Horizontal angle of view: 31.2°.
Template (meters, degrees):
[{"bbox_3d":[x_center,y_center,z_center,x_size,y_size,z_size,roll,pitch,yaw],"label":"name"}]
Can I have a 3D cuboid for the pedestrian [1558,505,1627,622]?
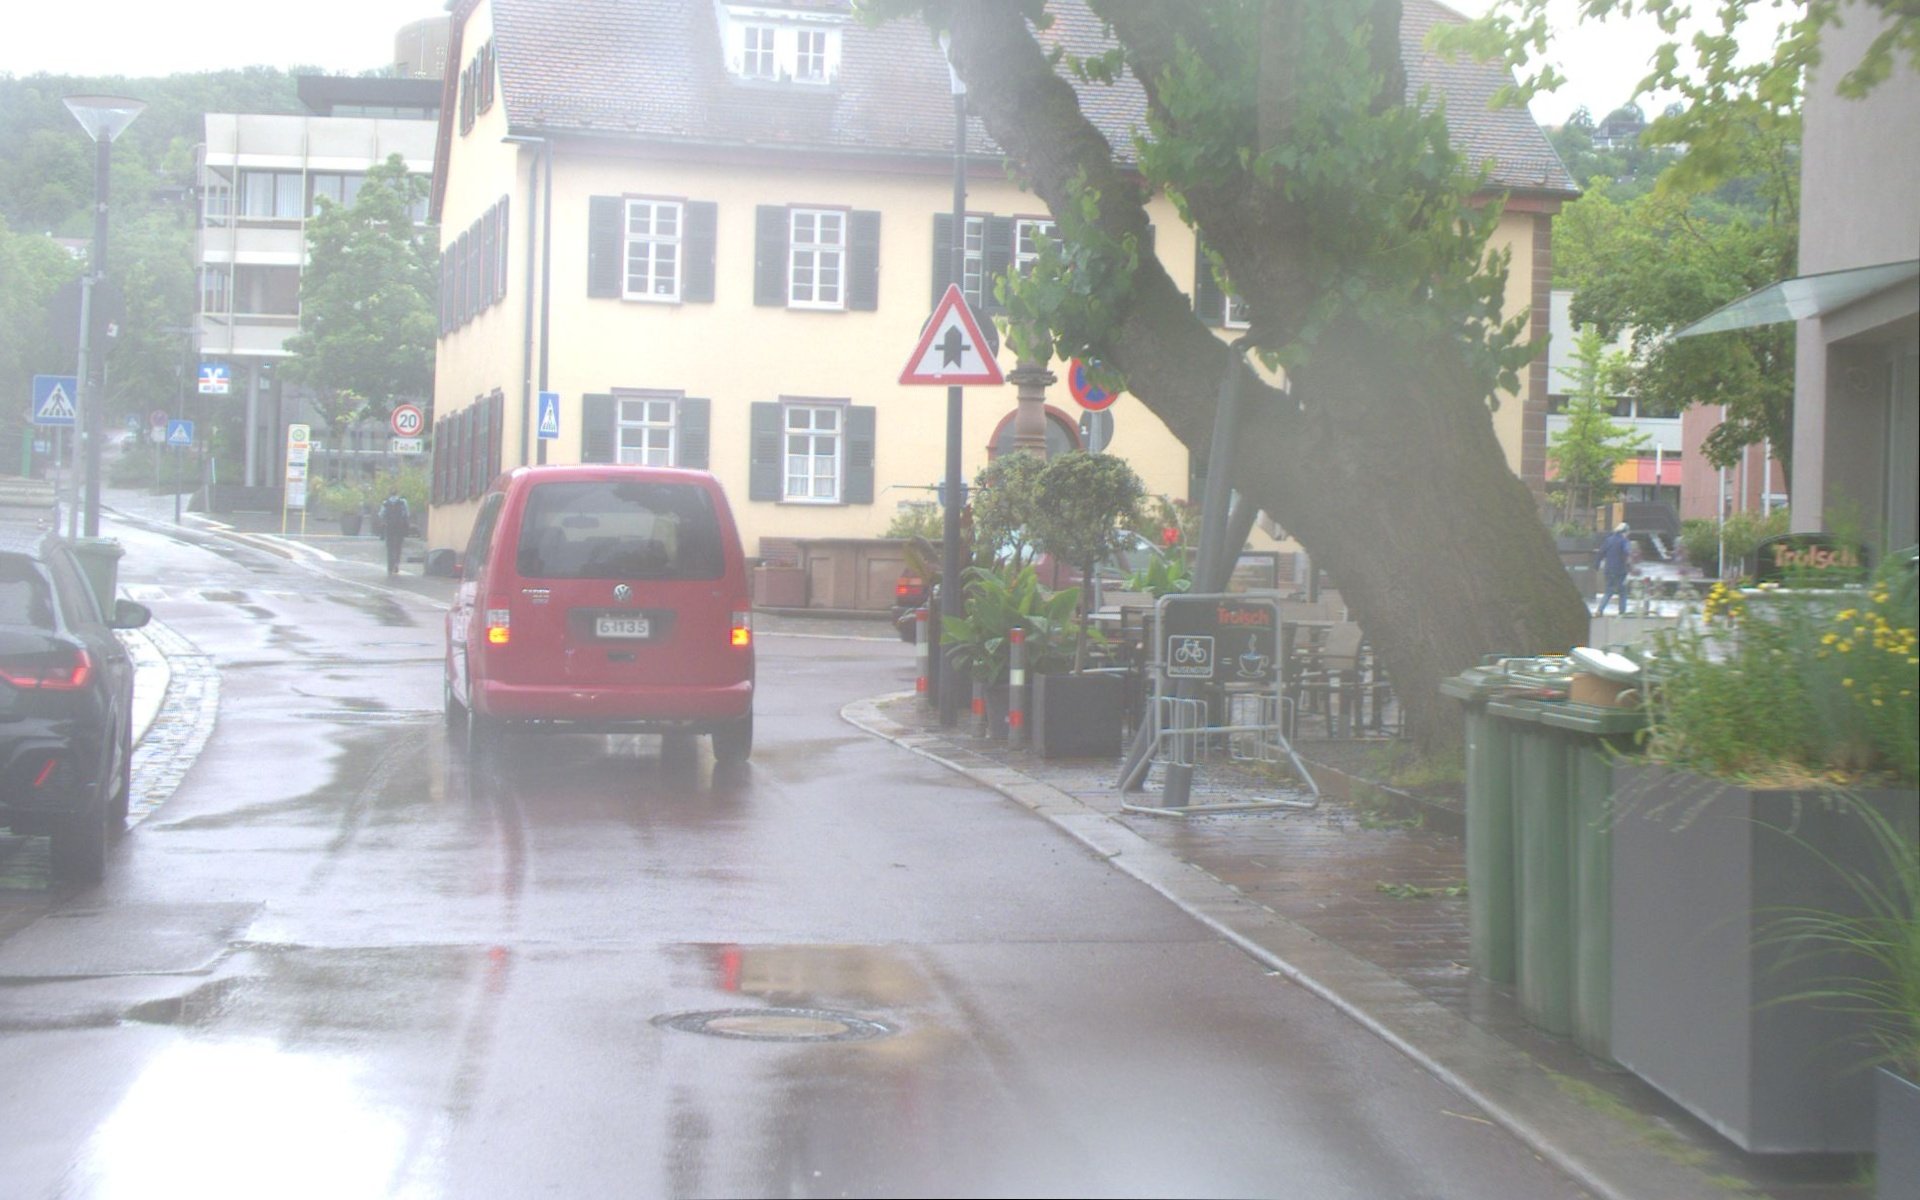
[{"bbox_3d":[10.175,-0.582,55.331,0.898,1.836,0.766,2,-1,1],"label":"pedestrian"}]

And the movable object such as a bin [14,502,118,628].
[{"bbox_3d":[-8.157,-0.315,31.384,0.794,1.102,0.722,3,-1,-8],"label":"movable object such as a bin"}]

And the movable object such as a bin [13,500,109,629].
[{"bbox_3d":[-8.022,-0.313,30.695,0.714,1.102,0.600,3,-1,-8],"label":"movable object such as a bin"}]

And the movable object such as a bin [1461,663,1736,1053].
[{"bbox_3d":[1.899,0.757,10.285,0.631,1.100,0.579,3,-1,-5],"label":"movable object such as a bin"}]

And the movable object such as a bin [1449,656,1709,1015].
[{"bbox_3d":[1.993,0.747,11.122,0.677,1.099,0.579,3,-1,-2],"label":"movable object such as a bin"}]

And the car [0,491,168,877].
[{"bbox_3d":[-4.590,0.254,15.512,1.787,1.490,4.001,3,1,-11],"label":"car"}]

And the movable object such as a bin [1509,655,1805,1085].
[{"bbox_3d":[1.956,0.744,9.695,0.631,1.146,0.579,3,-1,-5],"label":"movable object such as a bin"}]

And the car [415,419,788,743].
[{"bbox_3d":[-2.398,-0.190,22.056,1.893,1.805,4.002,3,2,-12],"label":"car"}]

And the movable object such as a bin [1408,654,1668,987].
[{"bbox_3d":[1.963,0.739,11.748,0.721,1.069,0.649,3,-1,-2],"label":"movable object such as a bin"}]

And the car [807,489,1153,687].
[{"bbox_3d":[0.268,-0.080,34.254,1.996,1.793,3.995,2,0,23],"label":"car"}]

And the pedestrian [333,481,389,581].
[{"bbox_3d":[-11.306,-1.302,64.862,0.764,1.836,0.901,2,-1,5],"label":"pedestrian"}]

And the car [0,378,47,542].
[{"bbox_3d":[-17.303,-2.399,59.859,2.299,2.593,6.960,3,0,-17],"label":"car"}]
